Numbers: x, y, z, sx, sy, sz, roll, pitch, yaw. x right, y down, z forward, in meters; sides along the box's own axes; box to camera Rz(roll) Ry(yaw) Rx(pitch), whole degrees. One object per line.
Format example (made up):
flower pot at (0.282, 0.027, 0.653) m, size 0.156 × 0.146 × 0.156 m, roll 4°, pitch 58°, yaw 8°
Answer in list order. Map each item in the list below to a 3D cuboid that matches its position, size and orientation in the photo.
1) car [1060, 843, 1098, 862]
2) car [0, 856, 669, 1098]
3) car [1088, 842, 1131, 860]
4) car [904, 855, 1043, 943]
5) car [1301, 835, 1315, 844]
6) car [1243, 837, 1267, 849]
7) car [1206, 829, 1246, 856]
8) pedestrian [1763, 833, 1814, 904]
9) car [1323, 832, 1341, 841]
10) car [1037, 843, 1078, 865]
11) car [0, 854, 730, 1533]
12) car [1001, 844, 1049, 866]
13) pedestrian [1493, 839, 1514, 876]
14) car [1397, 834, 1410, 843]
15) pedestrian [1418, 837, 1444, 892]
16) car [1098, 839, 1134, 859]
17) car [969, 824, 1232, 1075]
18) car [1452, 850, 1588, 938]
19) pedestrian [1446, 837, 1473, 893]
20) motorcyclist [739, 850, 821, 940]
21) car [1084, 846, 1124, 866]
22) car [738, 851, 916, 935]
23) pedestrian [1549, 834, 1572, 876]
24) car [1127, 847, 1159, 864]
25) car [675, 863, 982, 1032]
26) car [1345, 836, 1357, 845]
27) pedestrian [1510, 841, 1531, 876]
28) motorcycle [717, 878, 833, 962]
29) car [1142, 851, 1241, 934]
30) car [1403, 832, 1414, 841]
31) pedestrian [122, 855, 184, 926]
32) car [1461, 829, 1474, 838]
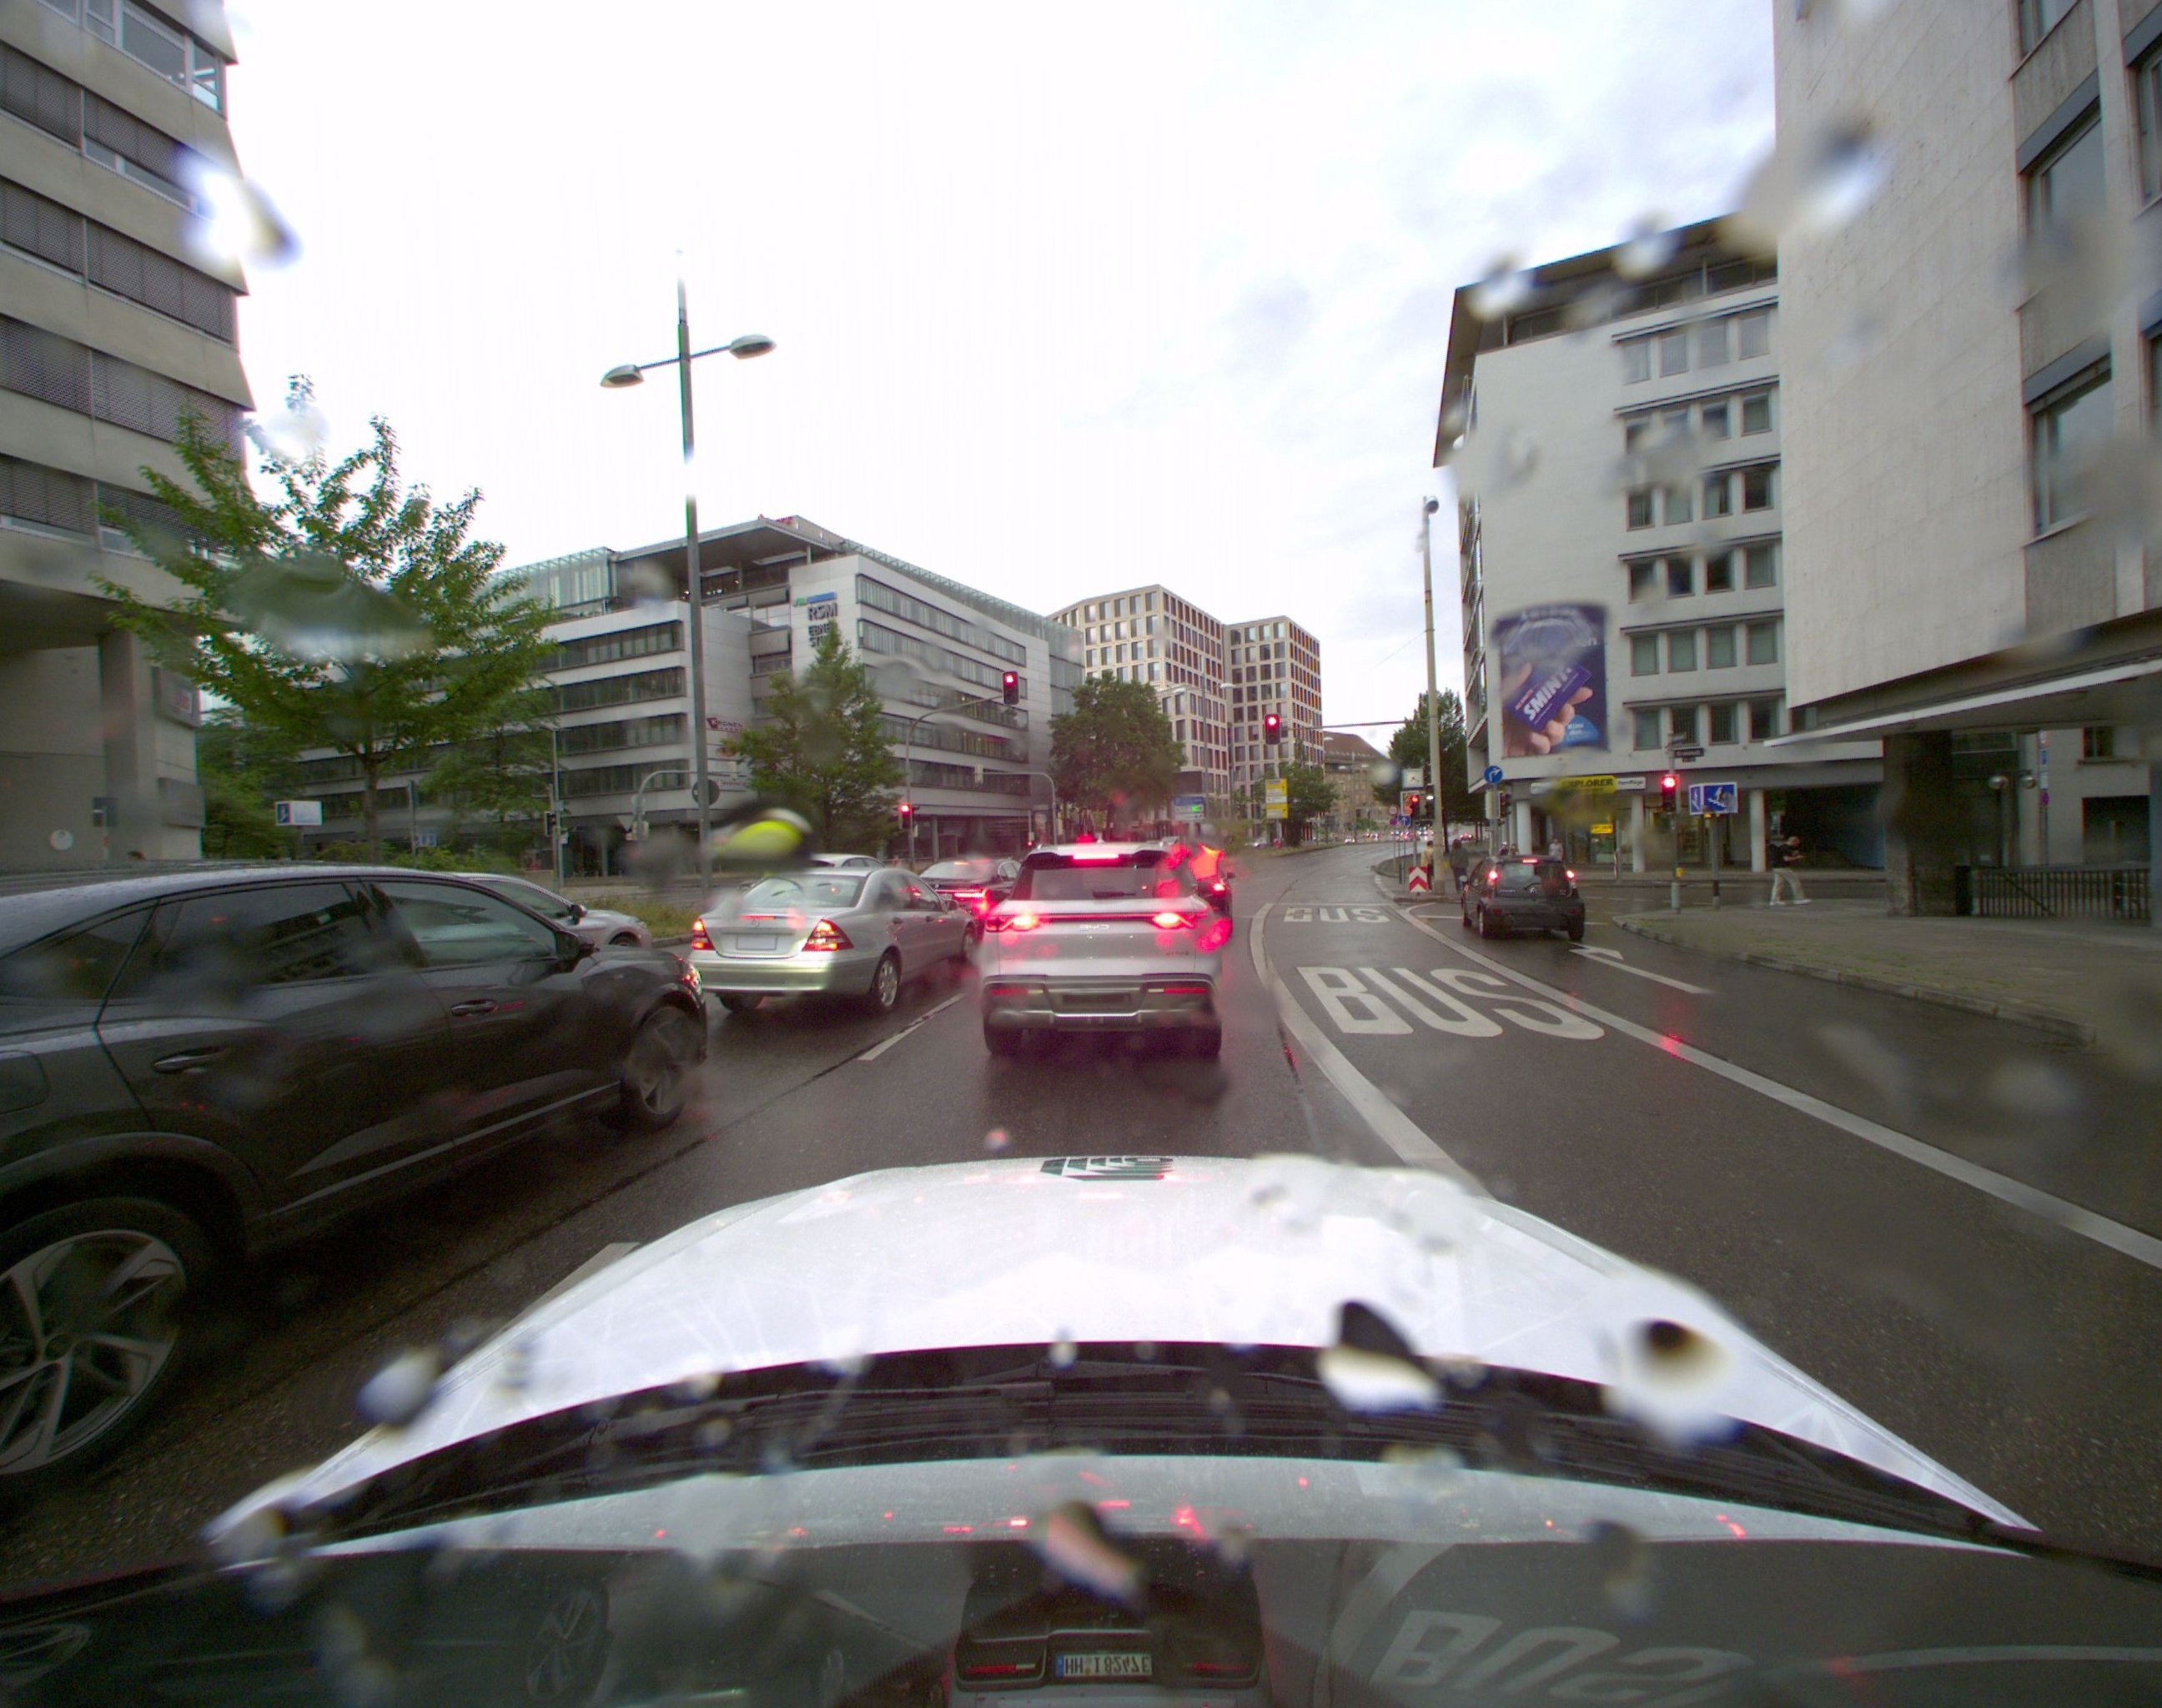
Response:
car at (-0.131, -0.079, 69.682) m, size 1.622 × 1.571 × 3.741 m, roll -1°, pitch -1°, yaw 29°
car at (-6.193, 0.815, 7.732) m, size 1.857 × 1.533 × 4.782 m, roll -1°, pitch 0°, yaw 4°
car at (2.669, -0.296, 74.907) m, size 1.796 × 1.510 × 5.228 m, roll -1°, pitch 1°, yaw 29°
car at (-1.918, 0.774, 15.714) m, size 1.561 × 1.486 × 4.010 m, roll -1°, pitch -1°, yaw 9°
car at (45.435, -2.948, 163.026) m, size 1.590 × 1.741 × 3.467 m, roll -1°, pitch -1°, yaw 34°
car at (24.076, -1.493, 112.615) m, size 1.974 × 1.488 × 4.025 m, roll -1°, pitch 1°, yaw 29°
car at (11.633, -0.878, 64.975) m, size 1.975 × 2.014 × 4.876 m, roll -1°, pitch -1°, yaw 25°
pedestrian at (17.801, 0.361, 20.496) m, size 0.764 × 1.731 × 0.599 m, roll -1°, pitch 0°, yaw 16°
car at (61.042, -4.199, 198.311) m, size 3.952 × 2.013 × 2.011 m, roll -1°, pitch 0°, yaw 22°
car at (-1.684, -0.003, 59.640) m, size 1.630 × 1.536 × 4.172 m, roll -1°, pitch 0°, yaw 19°
car at (-3.225, 0.782, 3.238) m, size 1.642 × 1.521 × 4.274 m, roll -1°, pitch 0°, yaw 2°
car at (-4.210, 0.028, 61.891) m, size 1.976 × 1.610 × 4.022 m, roll 0°, pitch 1°, yaw 22°
pedestrian at (18.926, 0.145, 36.503) m, size 0.657 × 1.655 × 0.662 m, roll -1°, pitch 0°, yaw -45°
car at (59.239, -2.777, 149.539) m, size 1.871 × 1.643 × 4.023 m, roll -1°, pitch 0°, yaw 24°
pedestrian at (11.660, 0.345, 27.185) m, size 0.742 × 1.798 × 0.821 m, roll -1°, pitch 1°, yaw 22°
car at (3.001, -0.434, 68.534) m, size 1.629 × 1.581 × 4.109 m, roll -1°, pitch 0°, yaw 23°
car at (0.264, 0.662, 7.508) m, size 1.768 × 1.679 × 4.004 m, roll -1°, pitch -1°, yaw 4°
car at (8.170, 0.673, 15.485) m, size 1.558 × 1.429 × 4.018 m, roll -1°, pitch -1°, yaw 18°
pedestrian at (12.309, 0.355, 26.504) m, size 0.742 × 1.798 × 0.821 m, roll -1°, pitch 1°, yaw 22°
motorcyclist at (-4.839, 0.634, 13.161) m, size 0.765 × 1.380 × 1.121 m, roll -1°, pitch -1°, yaw 10°
car at (1.715, 0.182, 58.926) m, size 1.675 × 1.385 × 3.888 m, roll -1°, pitch -1°, yaw 21°
car at (-4.958, 0.711, 16.530) m, size 1.696 × 1.486 × 4.013 m, roll -1°, pitch -1°, yaw 11°
pedestrian at (20.774, 0.055, 35.264) m, size 0.778 × 1.794 × 0.662 m, roll -1°, pitch 0°, yaw -45°
car at (6.224, 0.110, 81.209) m, size 1.616 × 1.559 × 4.620 m, roll -1°, pitch 1°, yaw 25°
car at (-2.446, 0.824, 9.056) m, size 1.561 × 1.407 × 4.120 m, roll -1°, pitch -1°, yaw 9°
car at (47.006, -2.317, 141.728) m, size 1.616 × 1.437 × 3.931 m, roll -1°, pitch 1°, yaw 25°
pedestrian at (19.421, 0.196, 35.987) m, size 0.657 × 1.543 × 0.618 m, roll -1°, pitch 0°, yaw -45°
motorcycle at (-4.854, 1.006, 13.101) m, size 0.795 × 1.185 × 2.034 m, roll -1°, pitch -1°, yaw 11°
car at (2.380, 0.715, 16.714) m, size 1.682 × 1.486 × 4.013 m, roll -1°, pitch -1°, yaw 12°
car at (81.880, -4.377, 203.557) m, size 1.975 × 2.013 × 4.025 m, roll -1°, pitch 0°, yaw 29°
pedestrian at (-22.757, 0.884, 19.975) m, size 0.672 × 1.683 × 0.766 m, roll -1°, pitch 0°, yaw 15°
car at (70.662, -3.702, 148.829) m, size 1.677 × 1.486 × 4.025 m, roll -1°, pitch -1°, yaw 32°
